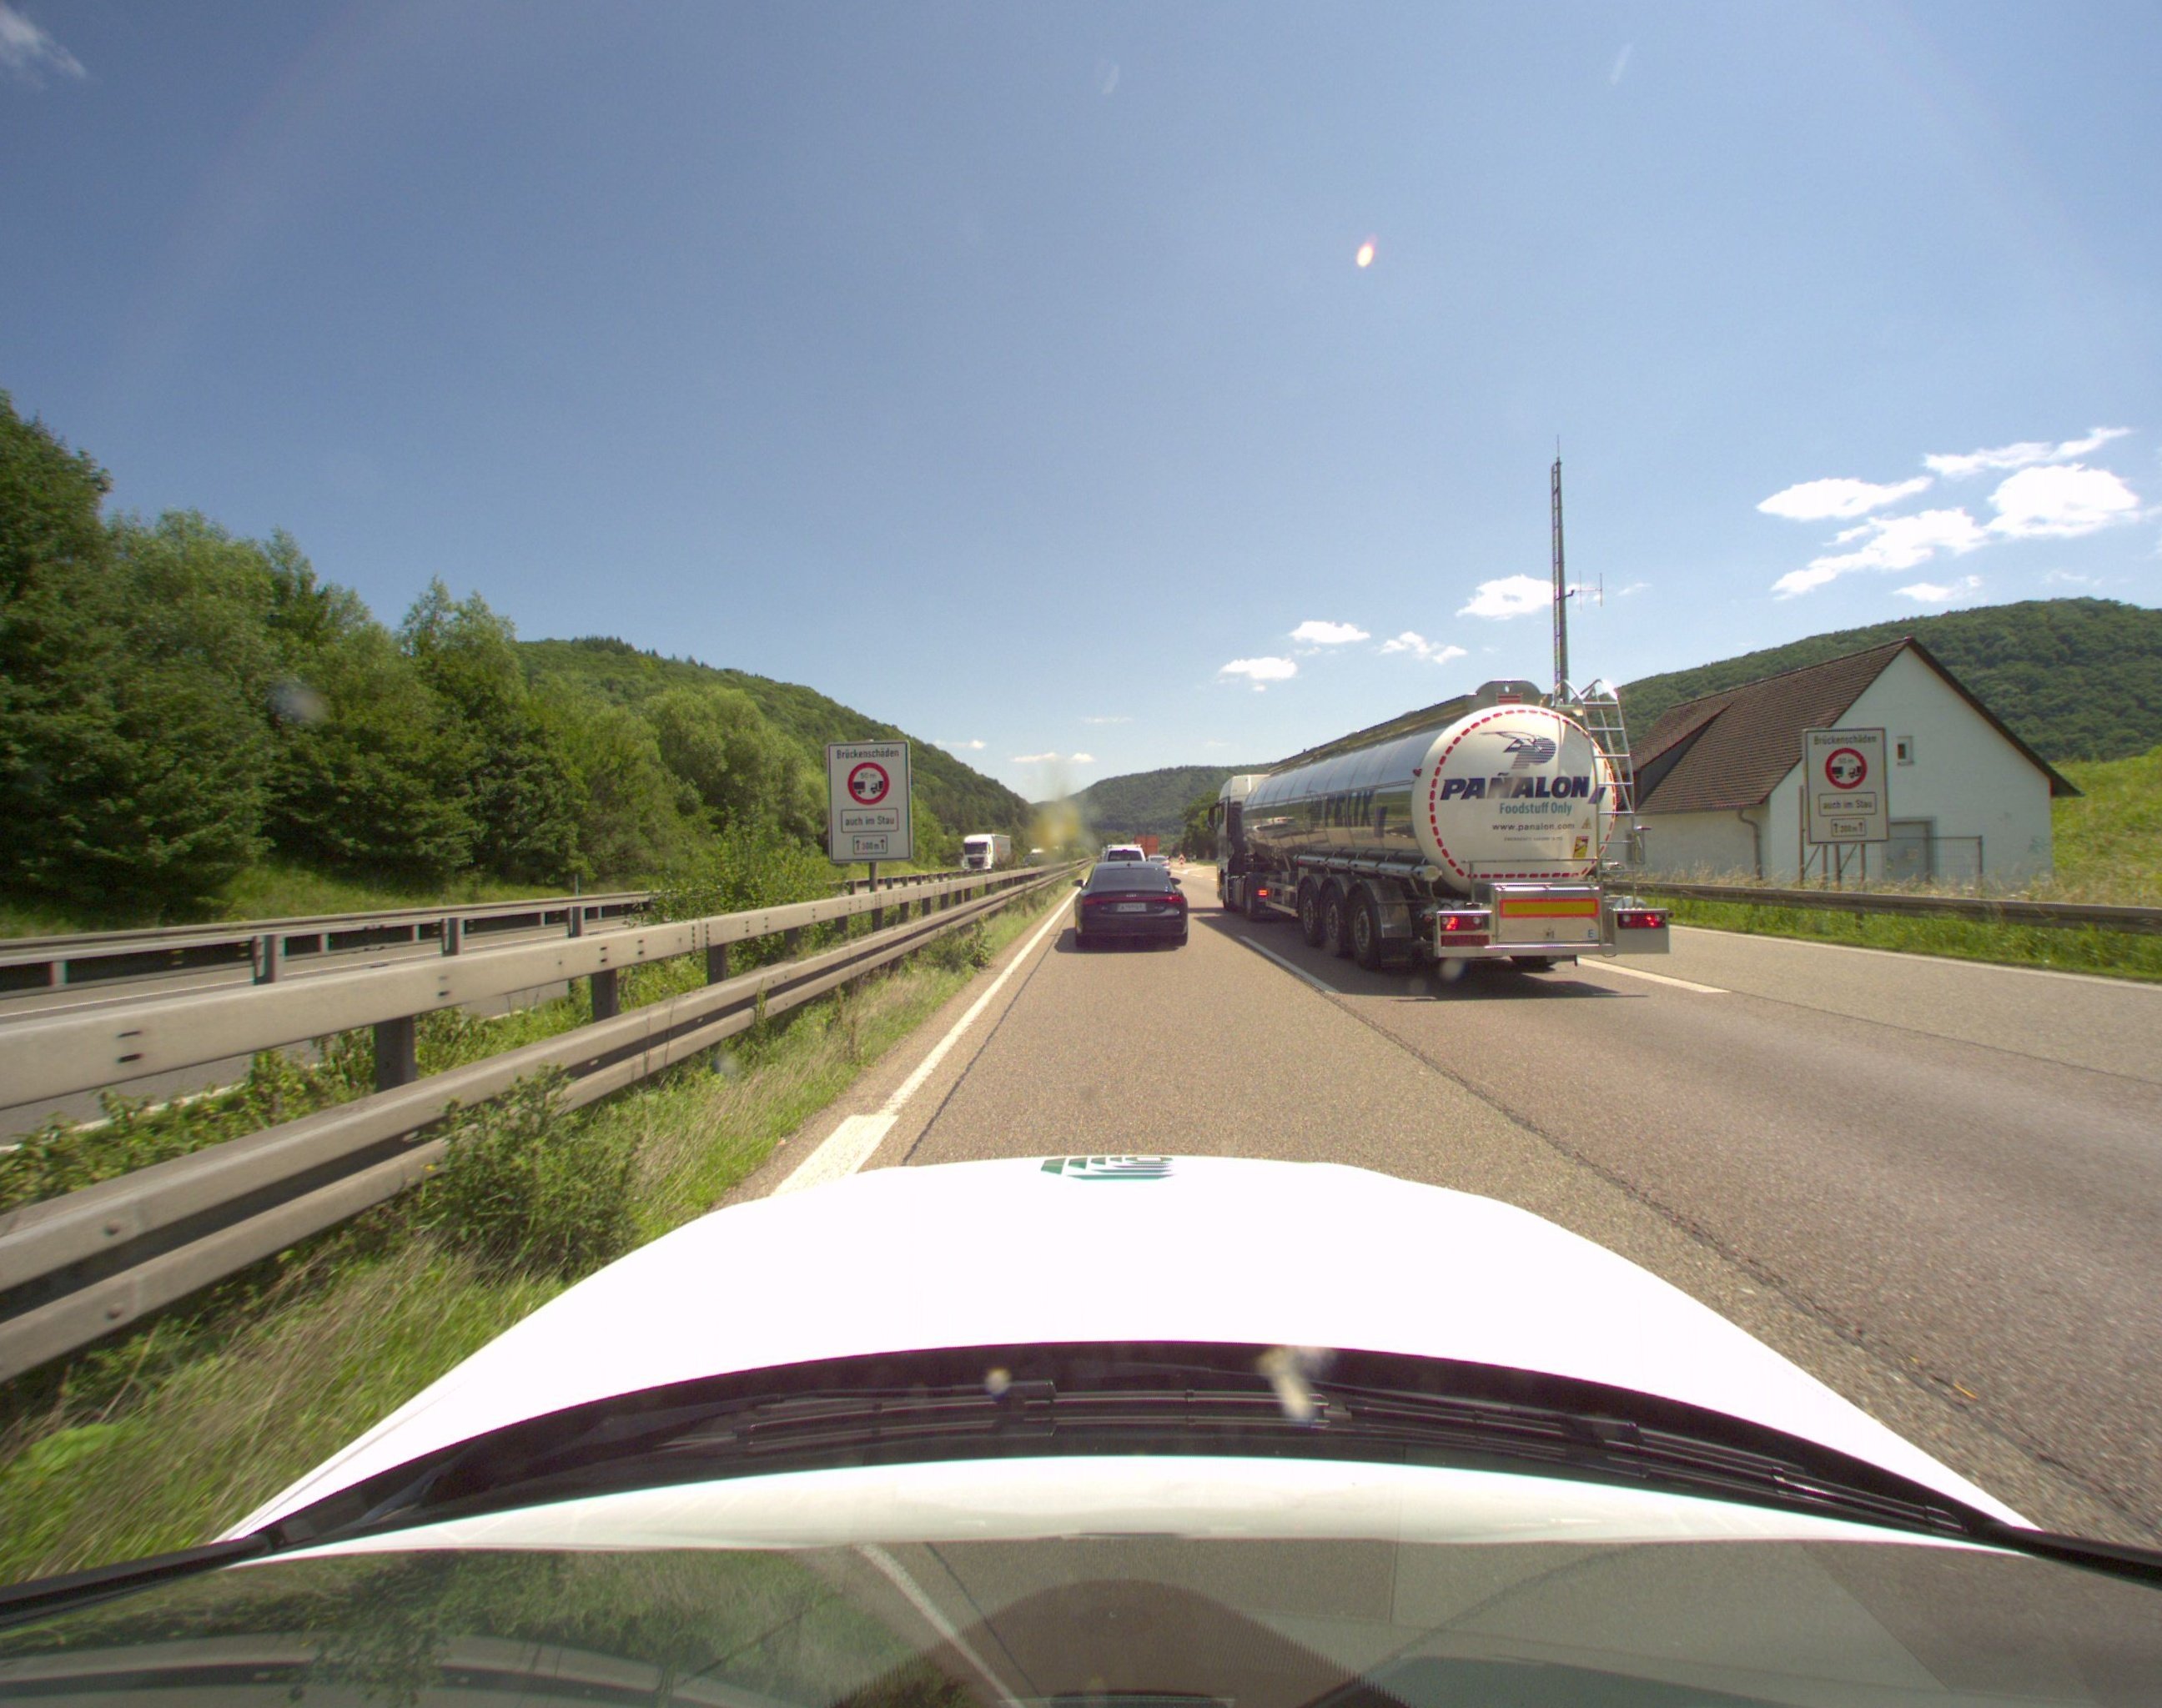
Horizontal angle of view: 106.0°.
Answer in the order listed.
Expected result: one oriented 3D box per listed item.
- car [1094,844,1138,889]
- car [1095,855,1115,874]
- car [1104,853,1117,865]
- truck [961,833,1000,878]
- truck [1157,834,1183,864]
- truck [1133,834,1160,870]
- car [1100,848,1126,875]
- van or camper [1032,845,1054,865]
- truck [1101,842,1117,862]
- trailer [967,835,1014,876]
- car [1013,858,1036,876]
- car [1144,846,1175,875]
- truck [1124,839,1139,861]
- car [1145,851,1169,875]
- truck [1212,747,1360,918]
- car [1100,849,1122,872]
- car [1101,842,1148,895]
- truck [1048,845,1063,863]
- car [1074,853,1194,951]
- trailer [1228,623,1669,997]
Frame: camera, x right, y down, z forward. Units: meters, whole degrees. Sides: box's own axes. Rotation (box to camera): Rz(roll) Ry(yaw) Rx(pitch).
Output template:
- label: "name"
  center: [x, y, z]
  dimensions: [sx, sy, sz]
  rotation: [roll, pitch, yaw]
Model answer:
- label: "car"
  center: [1.645, 0.563, 38.834]
  dimensions: [1.986, 2.013, 4.002]
  rotation: [-1, 0, 2]
- label: "car"
  center: [2.210, 0.901, 73.483]
  dimensions: [1.705, 1.618, 4.003]
  rotation: [-2, 0, 3]
- label: "car"
  center: [4.175, 0.645, 113.881]
  dimensions: [1.705, 1.618, 4.003]
  rotation: [-2, 0, 3]
- label: "truck"
  center: [-9.621, 0.139, 78.334]
  dimensions: [2.717, 4.001, 5.372]
  rotation: [-2, 0, 2]
- label: "truck"
  center: [12.665, -0.626, 117.369]
  dimensions: [2.806, 4.003, 14.965]
  rotation: [-1, 0, 3]
- label: "truck"
  center: [7.972, -0.228, 100.355]
  dimensions: [2.806, 4.003, 14.965]
  rotation: [-1, 0, 3]
- label: "car"
  center: [2.599, 0.583, 66.164]
  dimensions: [1.986, 2.013, 4.001]
  rotation: [-2, 0, 1]
- label: "van or camper"
  center: [-6.548, 0.226, 140.916]
  dimensions: [2.577, 3.335, 7.662]
  rotation: [-2, 0, 6]
- label: "truck"
  center: [5.188, -0.339, 149.739]
  dimensions: [2.618, 3.440, 11.427]
  rotation: [-2, 0, 2]
- label: "trailer"
  center: [-9.325, 0.165, 85.790]
  dimensions: [2.771, 4.000, 14.166]
  rotation: [-1, 0, 2]
- label: "car"
  center: [-5.787, 1.334, 83.928]
  dimensions: [1.915, 1.797, 4.601]
  rotation: [-1, 0, 1]
- label: "car"
  center: [5.739, 0.459, 59.828]
  dimensions: [1.986, 2.013, 4.002]
  rotation: [-2, 0, 2]
- label: "truck"
  center: [8.068, -0.609, 130.611]
  dimensions: [1.986, 3.447, 11.817]
  rotation: [-1, 0, 2]
- label: "car"
  center: [6.761, 0.808, 72.798]
  dimensions: [1.985, 2.002, 4.003]
  rotation: [-2, 0, 3]
- label: "truck"
  center: [4.951, -0.473, 20.660]
  dimensions: [2.502, 3.758, 5.247]
  rotation: [-1, 0, 1]
- label: "car"
  center: [2.834, 0.609, 76.977]
  dimensions: [1.986, 2.013, 4.001]
  rotation: [-2, 0, 1]
- label: "car"
  center: [1.571, 0.503, 30.126]
  dimensions: [1.570, 1.833, 4.002]
  rotation: [-1, 0, 2]
- label: "truck"
  center: [-5.622, -0.006, 180.769]
  dimensions: [2.859, 4.006, 10.174]
  rotation: [-1, 0, 1]
- label: "car"
  center: [0.818, 0.744, 14.685]
  dimensions: [1.843, 1.488, 4.082]
  rotation: [-1, 0, 0]
- label: "trailer"
  center: [4.769, -0.430, 14.154]
  dimensions: [2.529, 3.735, 11.894]
  rotation: [-1, 0, 1]
